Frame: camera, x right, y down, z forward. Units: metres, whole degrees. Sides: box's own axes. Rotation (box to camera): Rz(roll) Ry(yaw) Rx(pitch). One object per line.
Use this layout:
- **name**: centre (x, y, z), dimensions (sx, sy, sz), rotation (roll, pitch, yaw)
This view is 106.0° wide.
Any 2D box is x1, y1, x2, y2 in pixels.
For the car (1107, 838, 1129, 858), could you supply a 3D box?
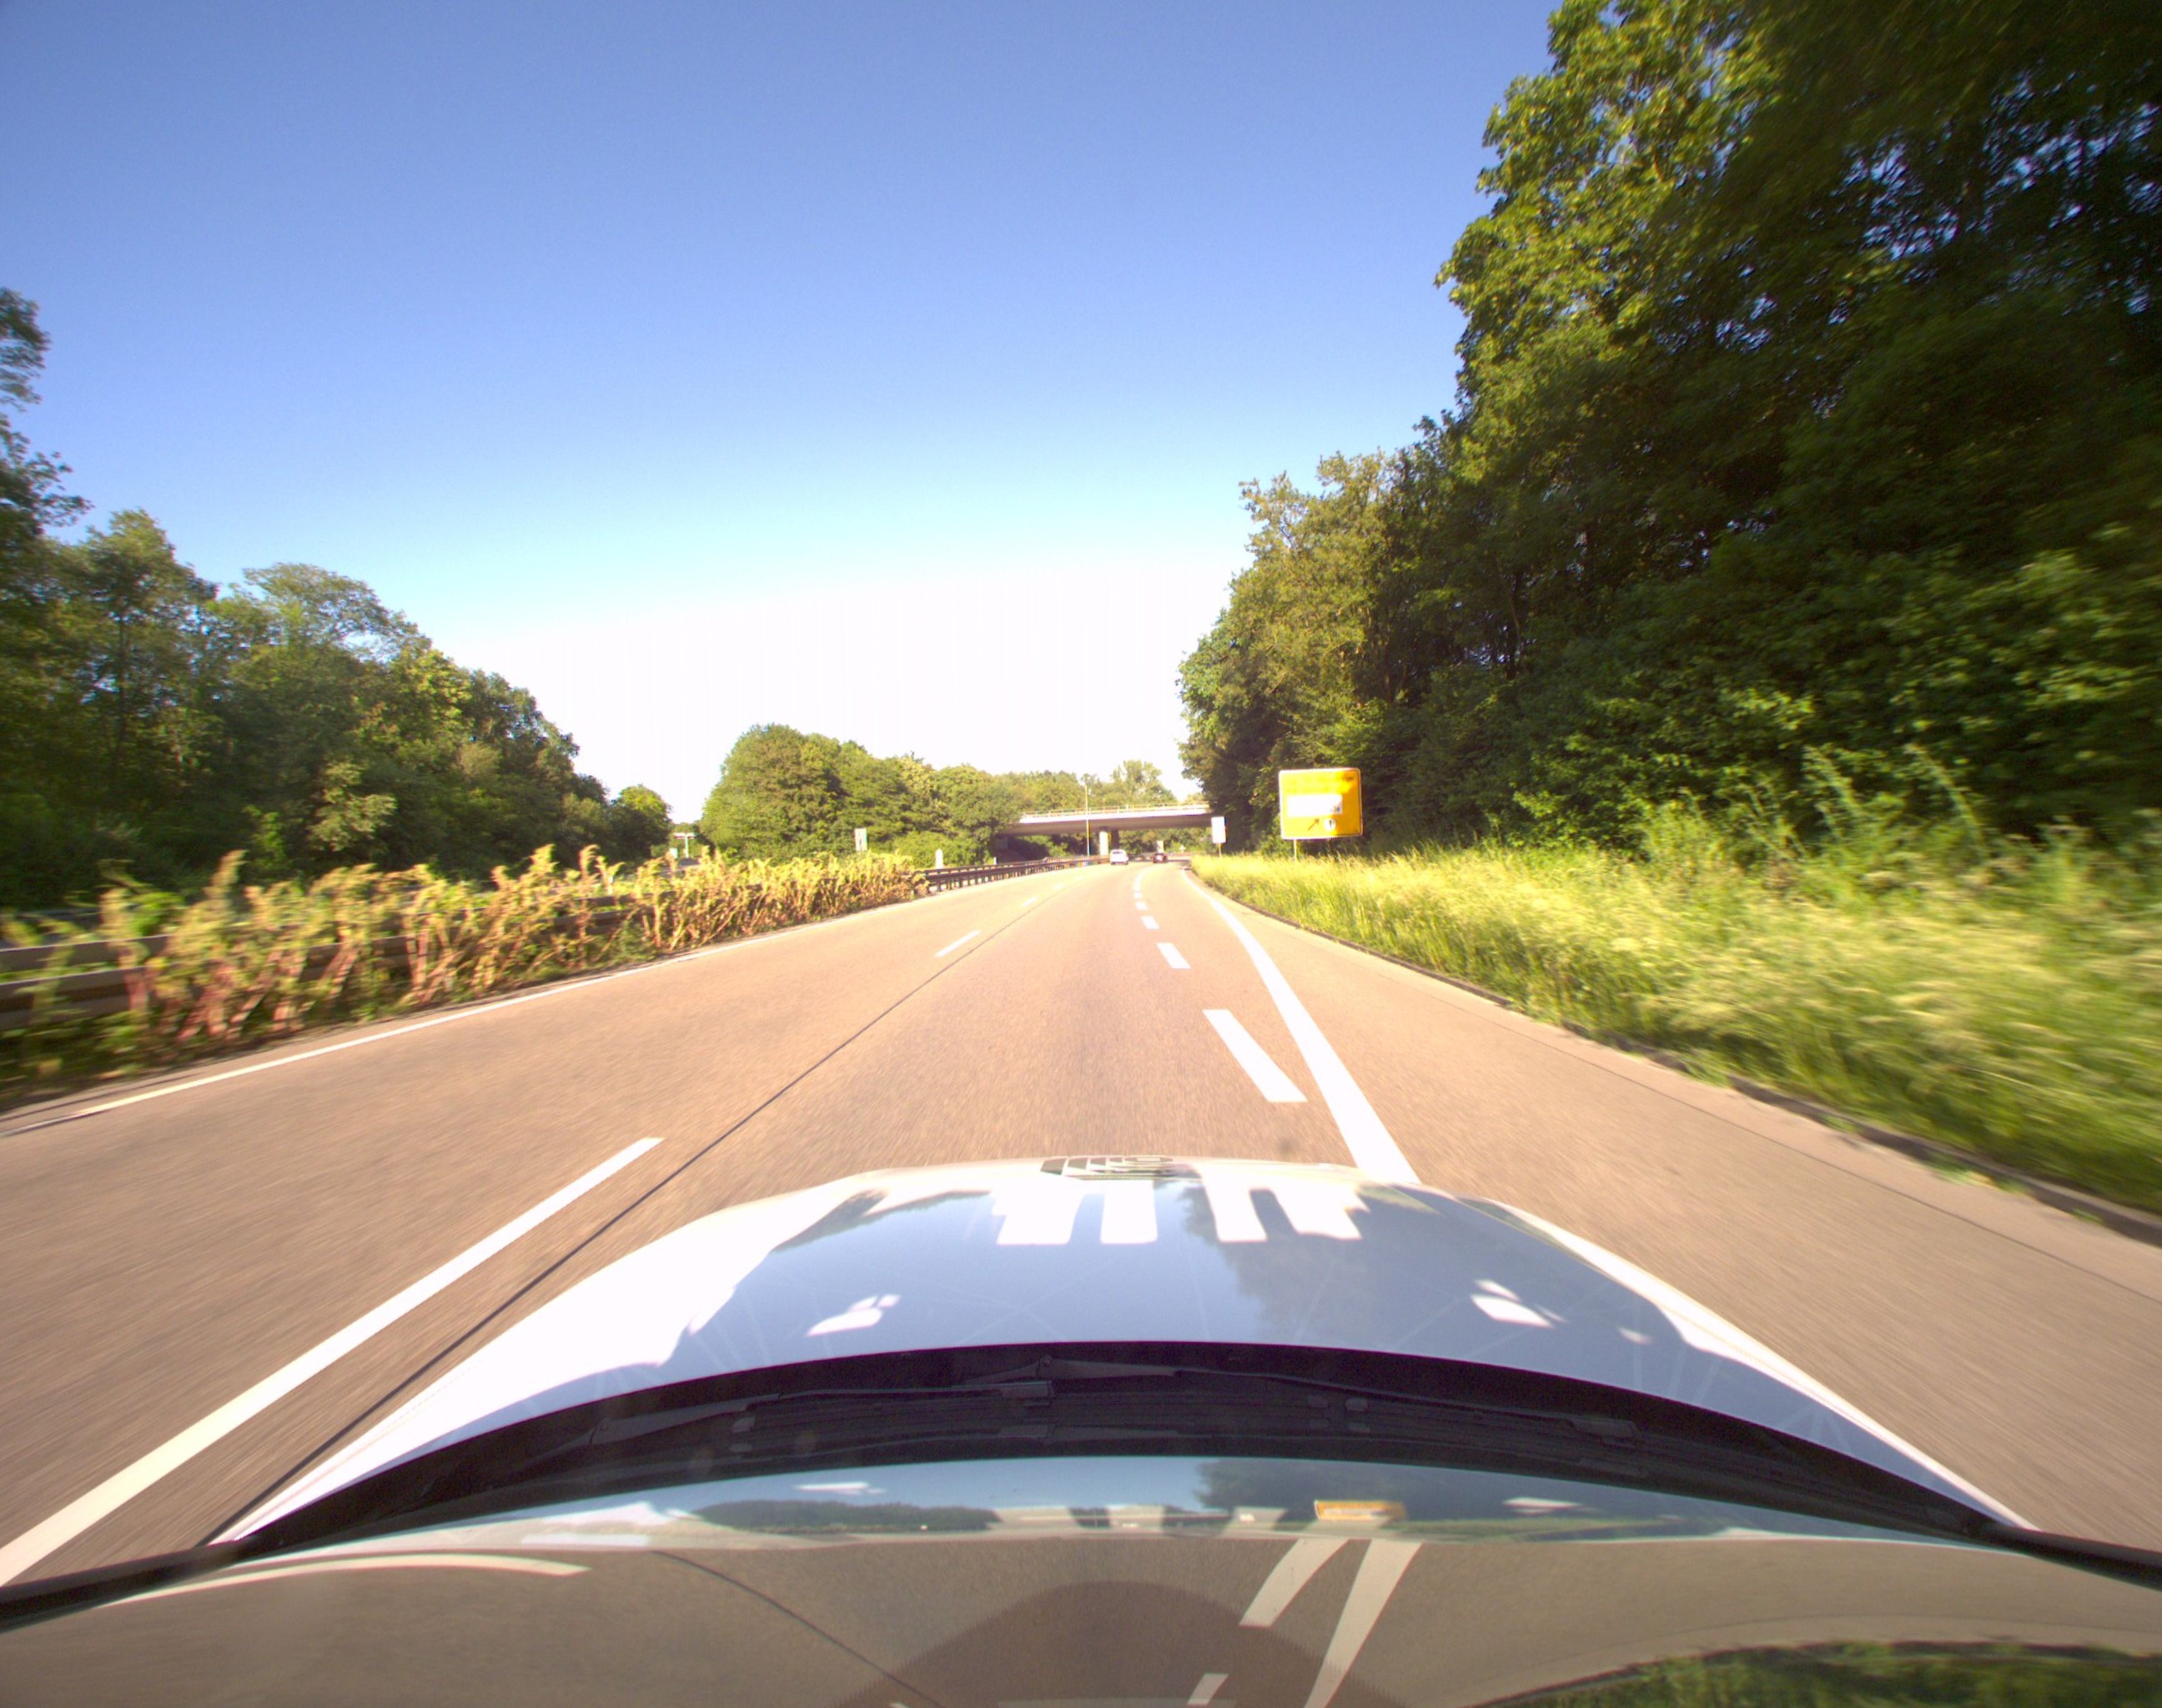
- **car**: centre (4.445, -0.690, 96.591), dimensions (1.980, 2.277, 4.013), rotation (-2, 0, 12)

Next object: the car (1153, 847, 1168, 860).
- **car**: centre (10.760, -0.031, 110.167), dimensions (1.729, 1.662, 3.955), rotation (-2, 0, 9)
